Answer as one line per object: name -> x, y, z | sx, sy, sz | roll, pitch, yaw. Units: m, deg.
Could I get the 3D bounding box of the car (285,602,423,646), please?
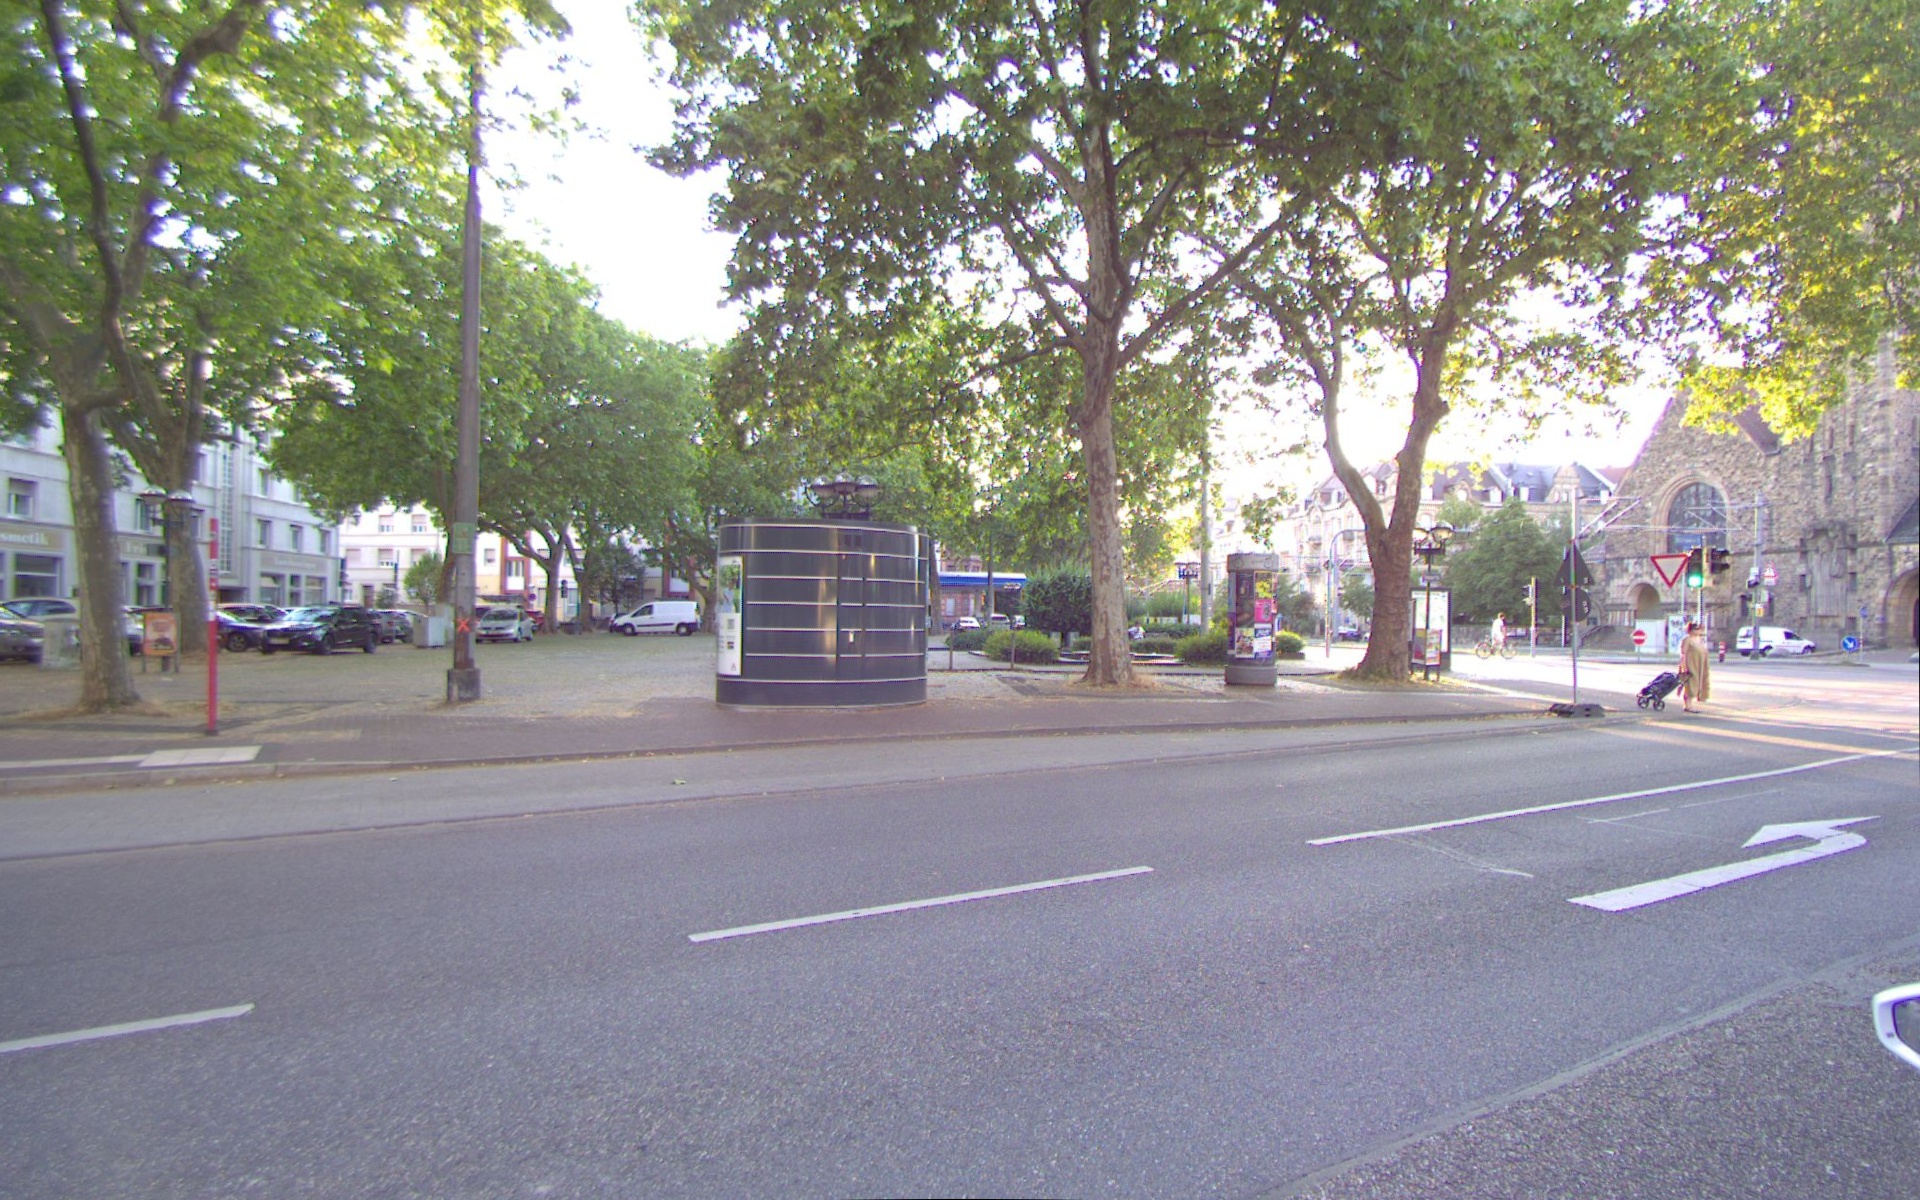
car -> -25.415, 1.013, 42.281 | 4.557, 1.758, 1.997 | -1, -2, -10

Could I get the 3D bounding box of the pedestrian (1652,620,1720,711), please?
pedestrian -> 13.732, 1.223, 19.007 | 0.766, 1.649, 0.796 | 2, 0, -35

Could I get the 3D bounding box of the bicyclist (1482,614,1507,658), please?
bicyclist -> 23.474, 1.575, 44.137 | 0.842, 1.852, 0.659 | 0, 1, 16

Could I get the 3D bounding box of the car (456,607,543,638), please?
car -> -27.384, 1.333, 59.930 | 4.572, 1.758, 1.990 | 0, -2, -22

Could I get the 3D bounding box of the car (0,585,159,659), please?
car -> -23.680, 0.587, 25.693 | 4.557, 1.805, 1.997 | -1, -2, -10

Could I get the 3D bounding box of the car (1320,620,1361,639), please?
car -> 35.938, 2.838, 95.036 | 1.963, 1.639, 3.996 | 1, -3, -8

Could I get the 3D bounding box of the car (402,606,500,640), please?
car -> -27.595, 1.264, 54.610 | 4.572, 1.758, 1.990 | 0, -2, -22

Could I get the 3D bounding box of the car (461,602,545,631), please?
car -> -28.284, 1.031, 62.329 | 4.572, 1.758, 1.990 | 0, -2, -22

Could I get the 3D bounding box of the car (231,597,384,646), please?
car -> -25.295, 0.839, 39.102 | 4.557, 1.805, 1.997 | -1, -2, -10

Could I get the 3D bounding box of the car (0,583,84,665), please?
car -> -23.122, 0.576, 22.723 | 4.557, 1.805, 1.997 | -1, -2, -10

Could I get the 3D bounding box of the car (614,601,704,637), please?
car -> -16.856, 1.076, 56.443 | 4.557, 1.964, 1.997 | -1, -2, -10

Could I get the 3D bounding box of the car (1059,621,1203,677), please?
car -> 5.849, 1.675, 34.668 | 4.552, 1.805, 1.999 | -1, -2, -5

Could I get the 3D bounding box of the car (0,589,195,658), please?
car -> -24.402, 0.661, 27.935 | 4.557, 1.805, 1.997 | -1, -2, -10

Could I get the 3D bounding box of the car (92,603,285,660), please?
car -> -25.113, 1.018, 32.871 | 4.557, 1.758, 1.997 | -1, -2, -10

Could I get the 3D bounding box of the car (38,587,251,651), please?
car -> -24.452, 0.565, 30.291 | 4.557, 1.805, 1.997 | -1, -2, -10

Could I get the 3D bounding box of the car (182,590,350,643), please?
car -> -25.104, 0.604, 36.515 | 4.557, 1.805, 2.090 | -1, -2, -10

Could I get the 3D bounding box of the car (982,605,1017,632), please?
car -> 2.847, 1.351, 73.317 | 1.882, 1.873, 3.995 | 2, 0, -7

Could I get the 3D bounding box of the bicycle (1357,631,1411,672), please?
bicycle -> 11.940, 1.442, 28.263 | 1.780, 1.107, 0.455 | 2, 0, -33

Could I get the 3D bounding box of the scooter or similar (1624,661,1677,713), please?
scooter or similar -> 12.866, 1.608, 18.714 | 0.845, 0.910, 0.586 | 2, 0, -41

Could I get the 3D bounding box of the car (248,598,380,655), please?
car -> -19.220, 0.803, 30.102 | 1.642, 1.549, 3.760 | 2, -2, -4

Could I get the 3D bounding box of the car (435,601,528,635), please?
car -> -27.161, 1.027, 57.235 | 4.578, 1.834, 1.992 | 0, -2, -20

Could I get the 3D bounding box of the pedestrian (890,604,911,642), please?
pedestrian -> -2.736, 1.054, 45.925 | 0.869, 1.694, 0.740 | 2, 0, -8

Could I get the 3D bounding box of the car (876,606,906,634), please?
car -> -5.018, 1.422, 72.315 | 1.882, 1.873, 3.995 | 2, 0, -7

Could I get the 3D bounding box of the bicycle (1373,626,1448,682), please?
bicycle -> 11.326, 1.360, 25.235 | 1.967, 1.344, 0.523 | 2, 0, -26

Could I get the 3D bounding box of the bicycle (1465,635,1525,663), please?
bicycle -> 23.493, 2.141, 44.129 | 2.199, 1.092, 0.659 | 1, 4, 14

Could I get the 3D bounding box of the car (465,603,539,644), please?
car -> -19.790, 0.988, 43.583 | 1.642, 1.684, 3.760 | 2, 0, -4

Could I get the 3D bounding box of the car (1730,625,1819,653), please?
car -> 50.964, 2.438, 62.913 | 4.372, 1.537, 1.718 | 2, 0, -6

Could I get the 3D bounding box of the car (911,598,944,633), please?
car -> -2.376, 1.099, 72.560 | 1.963, 2.374, 3.995 | 2, 0, -7
